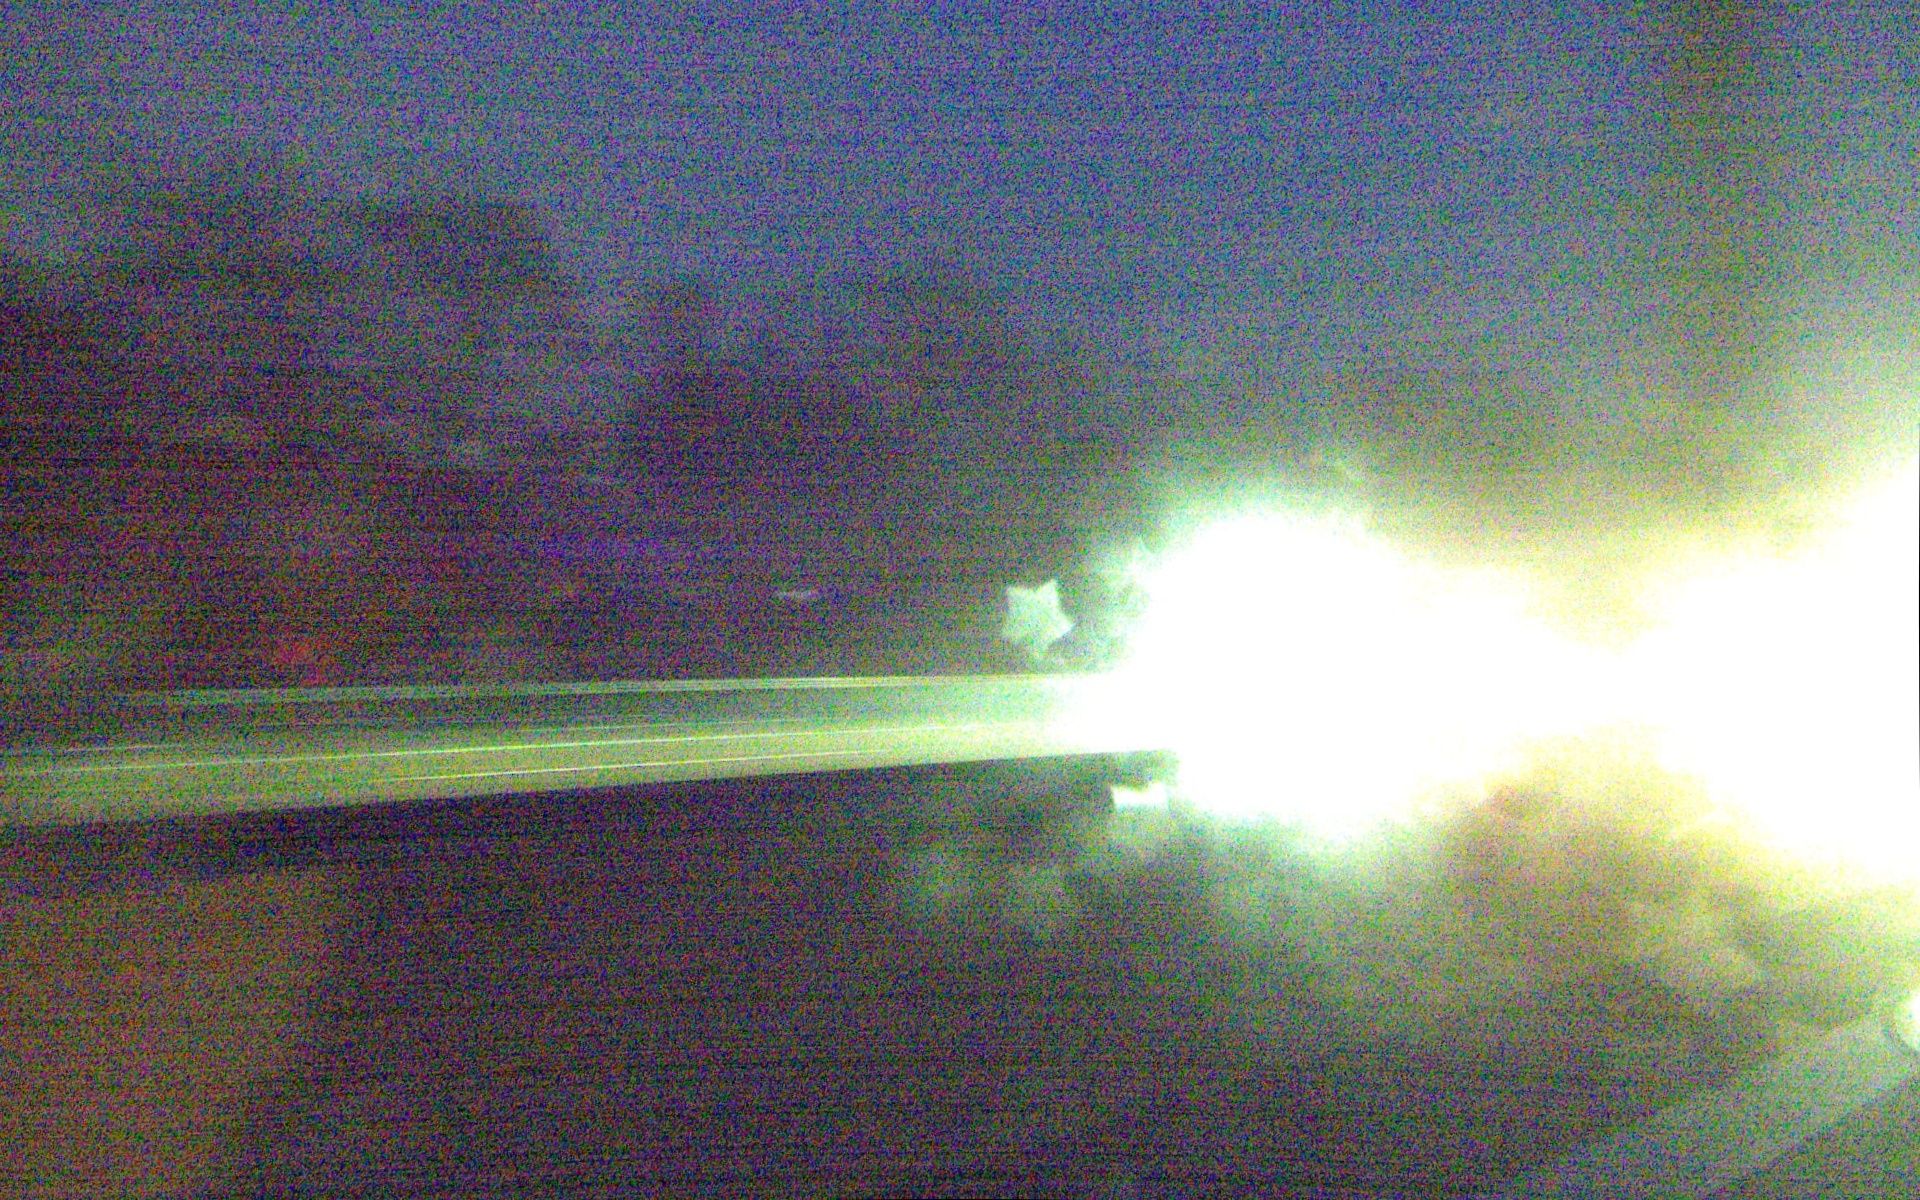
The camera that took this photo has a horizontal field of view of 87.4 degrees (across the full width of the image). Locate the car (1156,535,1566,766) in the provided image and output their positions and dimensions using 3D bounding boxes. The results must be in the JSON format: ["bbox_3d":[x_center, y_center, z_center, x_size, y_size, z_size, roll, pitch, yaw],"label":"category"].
[{"bbox_3d":[10.162,1.080,24.997,10.466,4.792,3.689,0,1,-29],"label":"car"}]

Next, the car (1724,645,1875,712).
[{"bbox_3d":[22.895,2.119,27.391,3.953,1.706,1.908,2,-3,-30],"label":"car"}]
